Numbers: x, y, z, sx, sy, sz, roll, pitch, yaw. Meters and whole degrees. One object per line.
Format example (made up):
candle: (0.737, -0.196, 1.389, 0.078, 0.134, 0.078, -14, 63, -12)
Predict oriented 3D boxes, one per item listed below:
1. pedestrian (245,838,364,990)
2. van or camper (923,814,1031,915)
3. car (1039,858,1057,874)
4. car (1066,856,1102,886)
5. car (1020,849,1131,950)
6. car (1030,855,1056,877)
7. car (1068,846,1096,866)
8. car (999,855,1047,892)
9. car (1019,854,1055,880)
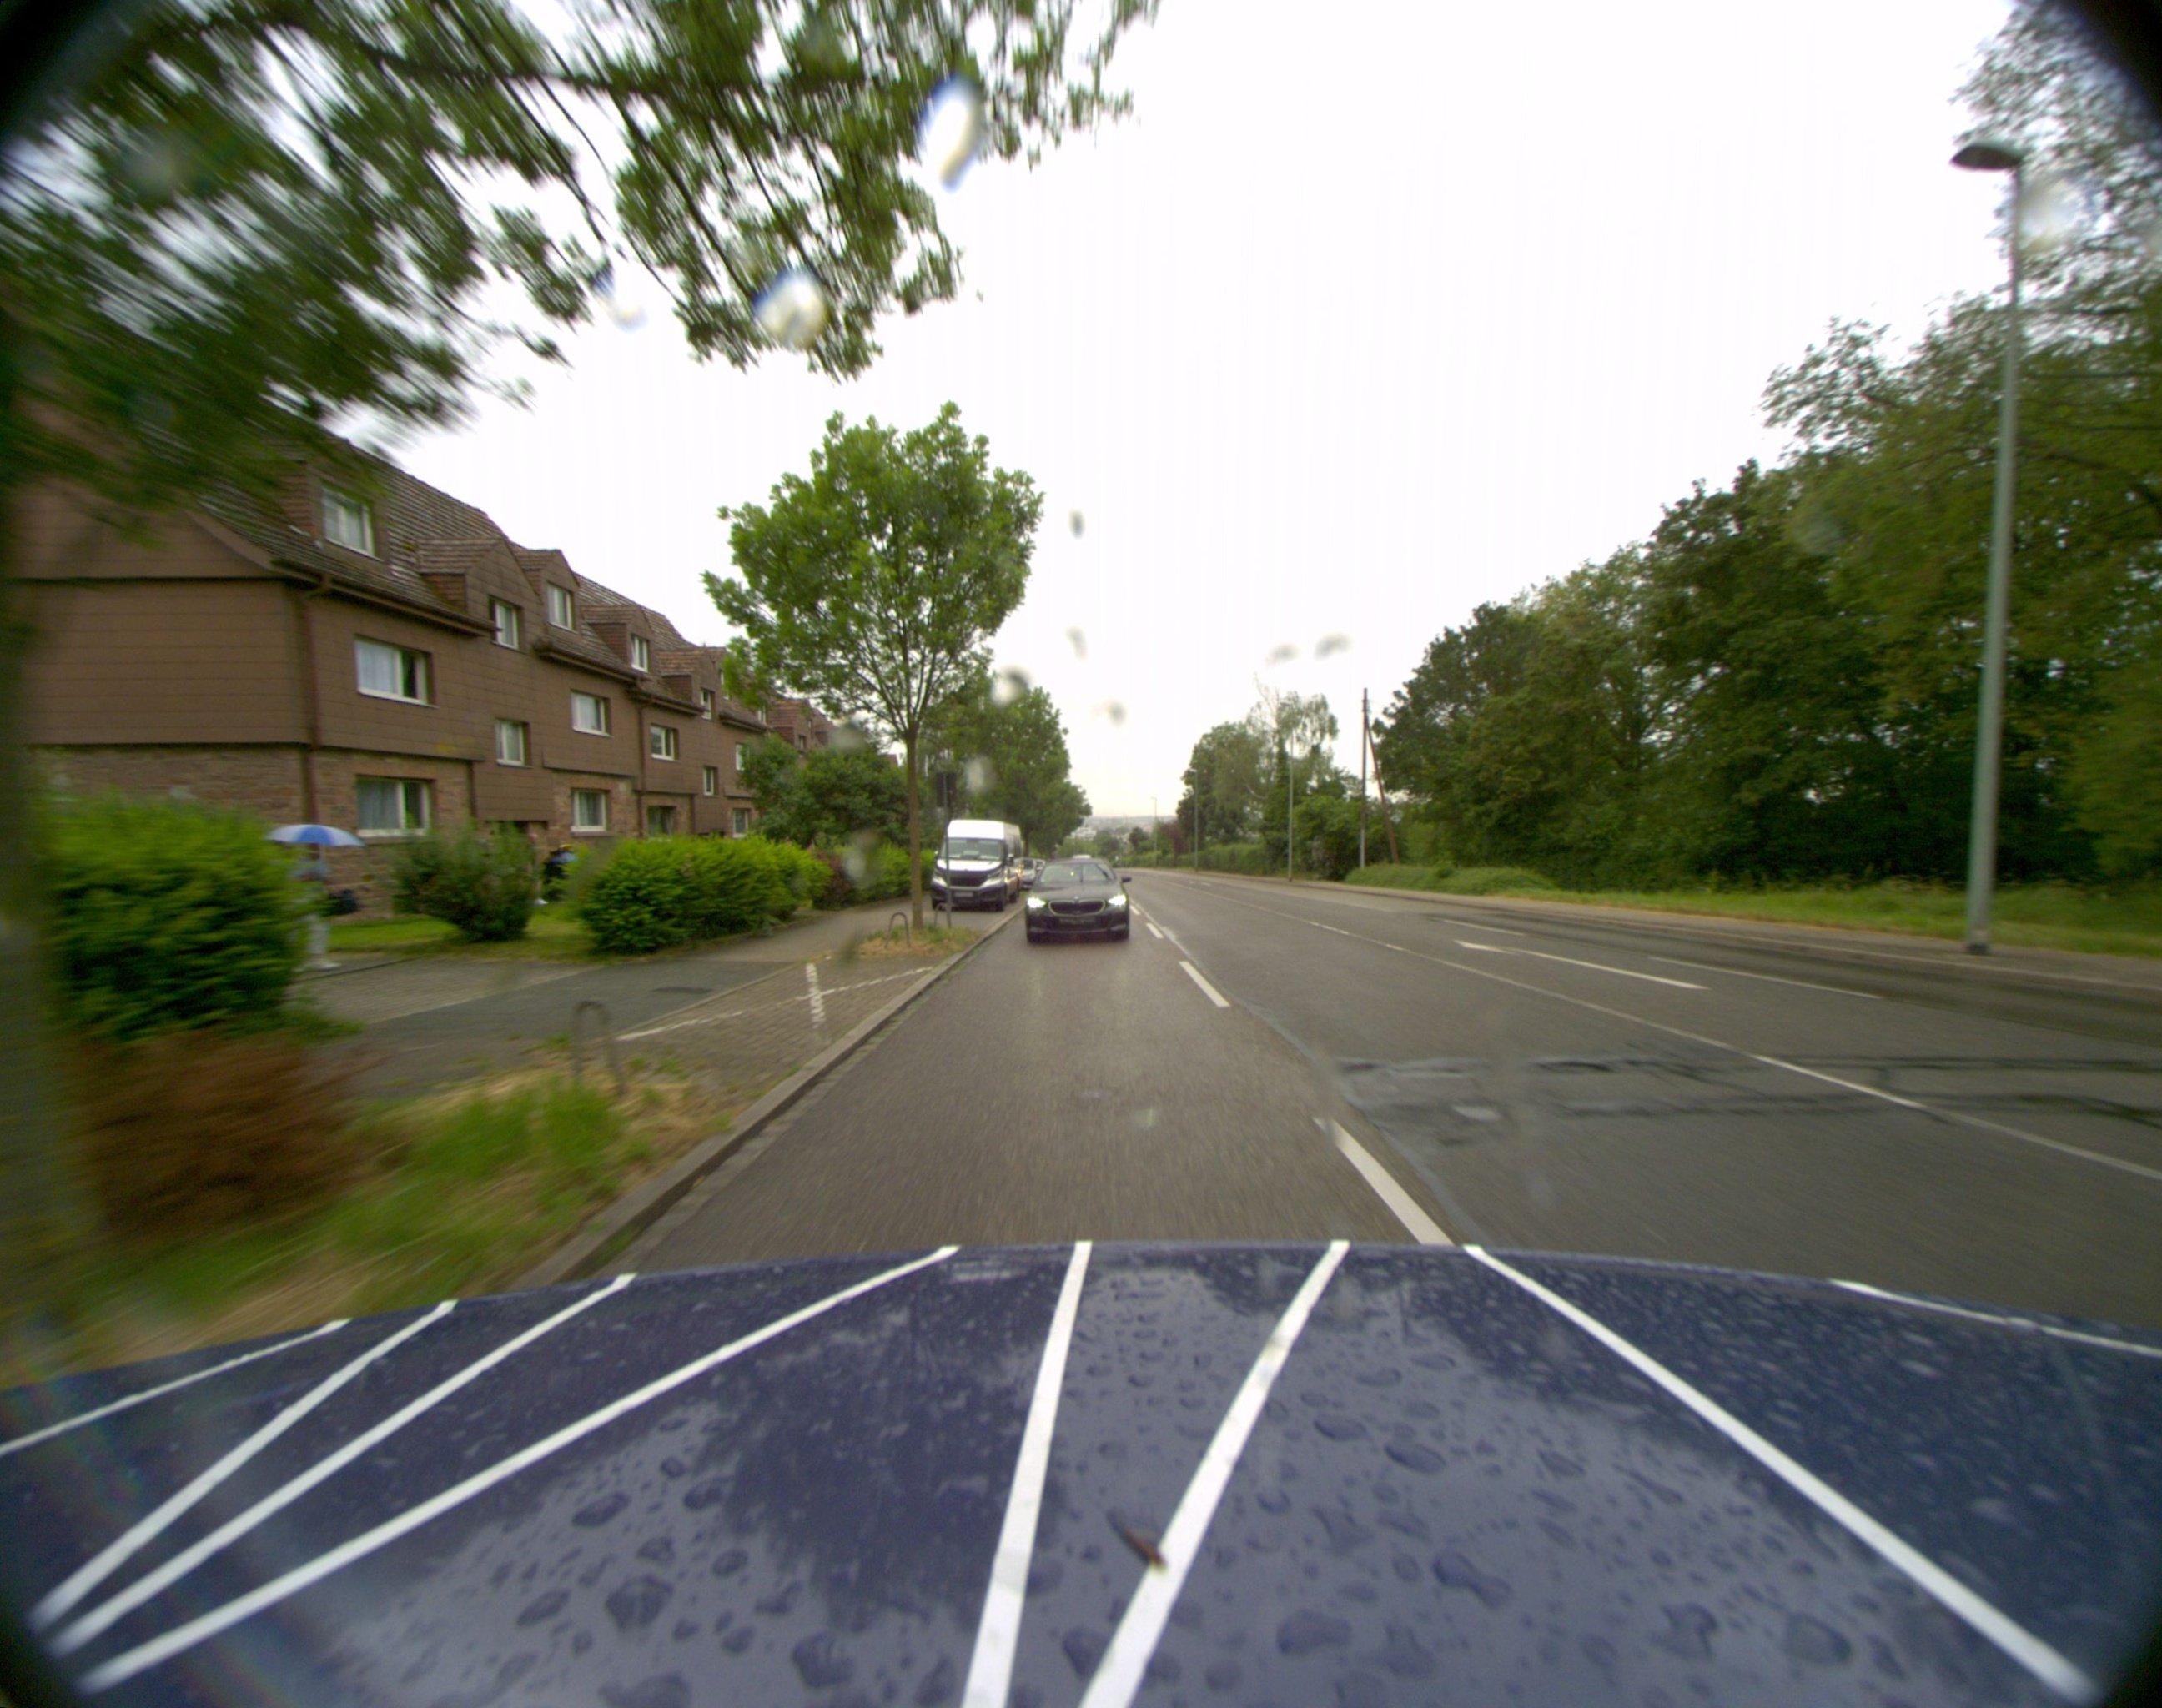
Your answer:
pedestrian: (-8.913, 0.667, 8.740, 0.709, 1.670, 0.654, 1, 0, 6)
van or camper: (-2.996, 0.299, 23.856, 2.203, 2.635, 7.302, 1, 0, 1)
car: (-3.235, 1.191, 74.285, 1.726, 1.503, 3.785, 1, -1, -2)
car: (0.135, 0.968, 44.121, 1.999, 1.674, 4.174, 0, 0, -1)
car: (-0.102, 0.789, 15.134, 1.829, 1.668, 4.296, -2, 0, 0)
car: (-3.031, 0.982, 61.389, 1.829, 1.668, 4.584, 1, 0, 0)
car: (0.037, 0.183, 64.845, 1.999, 1.674, 4.172, 0, 0, -5)
car: (-2.637, 0.857, 35.145, 1.672, 1.519, 3.832, 2, 0, 3)
car: (-2.889, 0.865, 50.752, 1.828, 1.593, 4.475, 1, 0, 3)
